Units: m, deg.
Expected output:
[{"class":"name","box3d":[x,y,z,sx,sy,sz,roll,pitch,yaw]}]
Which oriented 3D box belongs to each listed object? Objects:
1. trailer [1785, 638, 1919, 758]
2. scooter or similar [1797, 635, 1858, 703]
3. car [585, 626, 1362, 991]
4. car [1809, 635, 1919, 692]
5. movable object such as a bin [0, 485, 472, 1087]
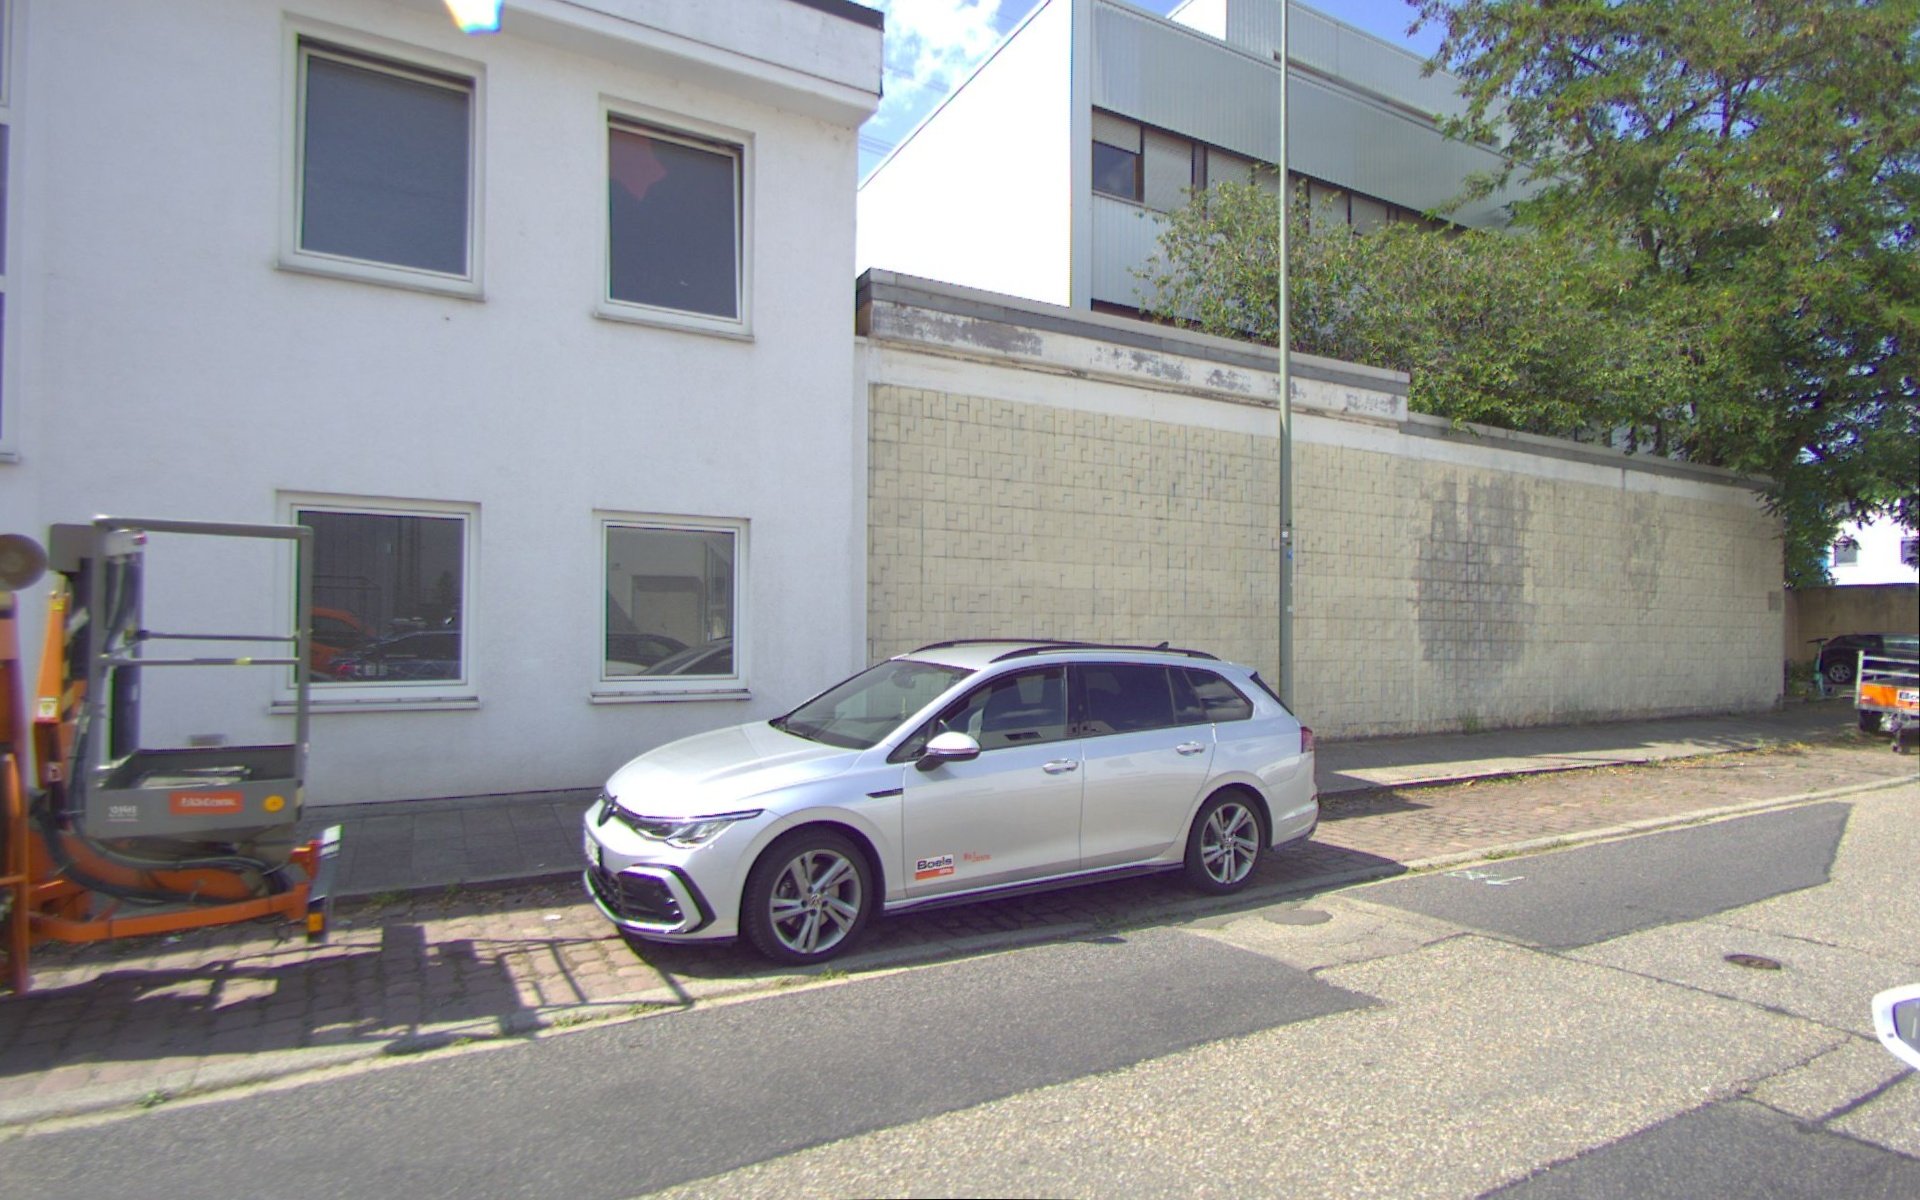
[{"class":"trailer","box3d":[13.874,1.334,14.405,4.285,1.458,1.758,2,1,-30]},{"class":"scooter or similar","box3d":[17.279,1.358,20.006,1.345,1.296,0.480,2,1,-30]},{"class":"car","box3d":[0.238,0.946,6.053,4.461,1.474,1.665,2,0,-30]},{"class":"car","box3d":[24.985,1.664,26.192,1.771,1.380,3.979,2,-1,-26]},{"class":"movable object such as a bin","box3d":[-4.494,0.549,3.296,5.079,1.945,1.605,1,2,-31]}]
